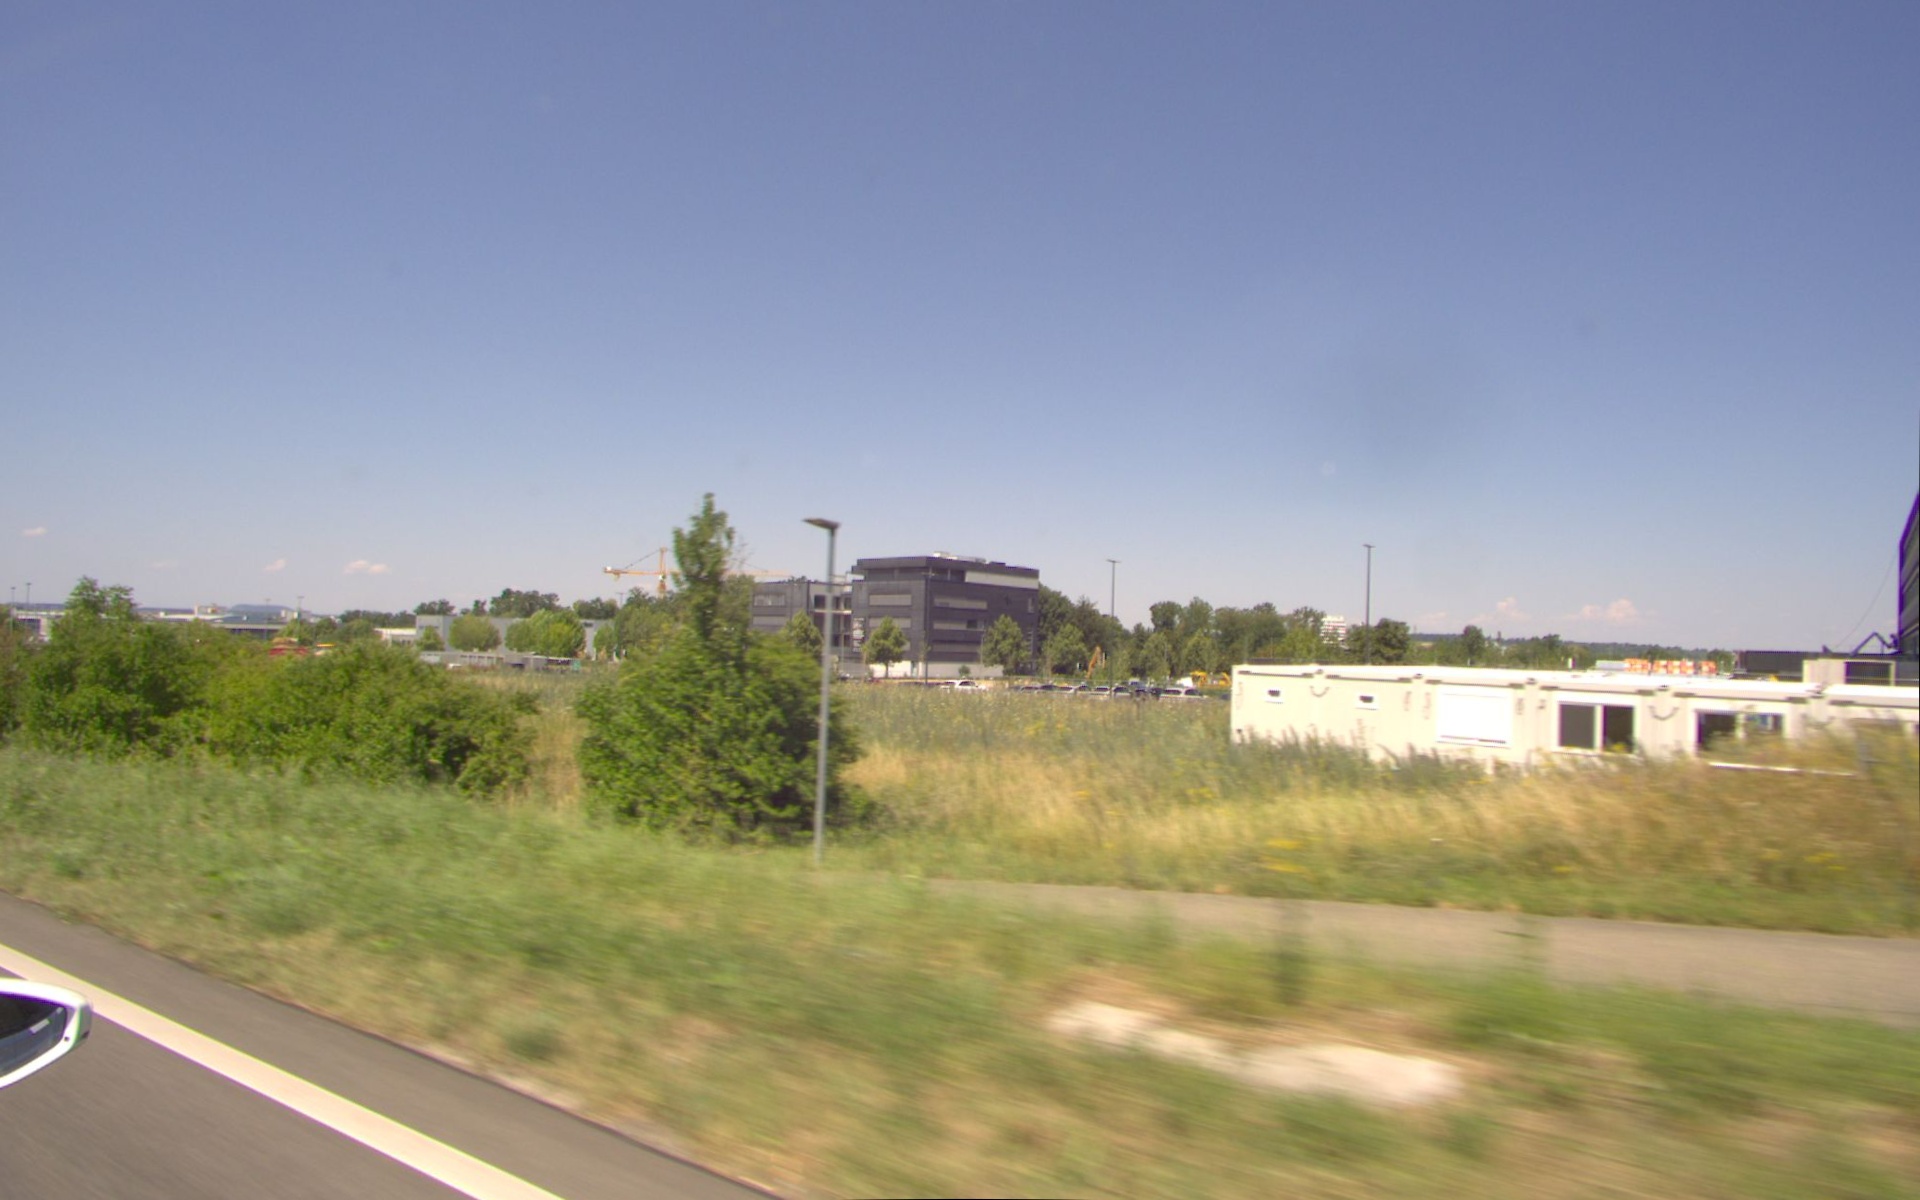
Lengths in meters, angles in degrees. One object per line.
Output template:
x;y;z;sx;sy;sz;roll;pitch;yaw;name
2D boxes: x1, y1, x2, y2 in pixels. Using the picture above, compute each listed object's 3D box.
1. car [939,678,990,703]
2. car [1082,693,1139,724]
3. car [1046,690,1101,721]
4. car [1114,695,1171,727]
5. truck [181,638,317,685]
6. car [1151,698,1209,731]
0.369;7.405;81.739;1.978;1.938;3.968;0;-4;43;car
10.695;7.654;70.930;1.979;2.038;3.966;0;-4;45;car
8.312;7.657;72.987;1.978;2.038;3.968;0;-4;43;car
12.624;7.642;69.112;1.978;2.038;3.968;0;-4;43;car
-62.931;5.464;89.027;9.281;3.729;3.118;4;-3;-27;truck
14.732;7.617;66.897;1.978;2.038;3.968;0;-4;43;car
